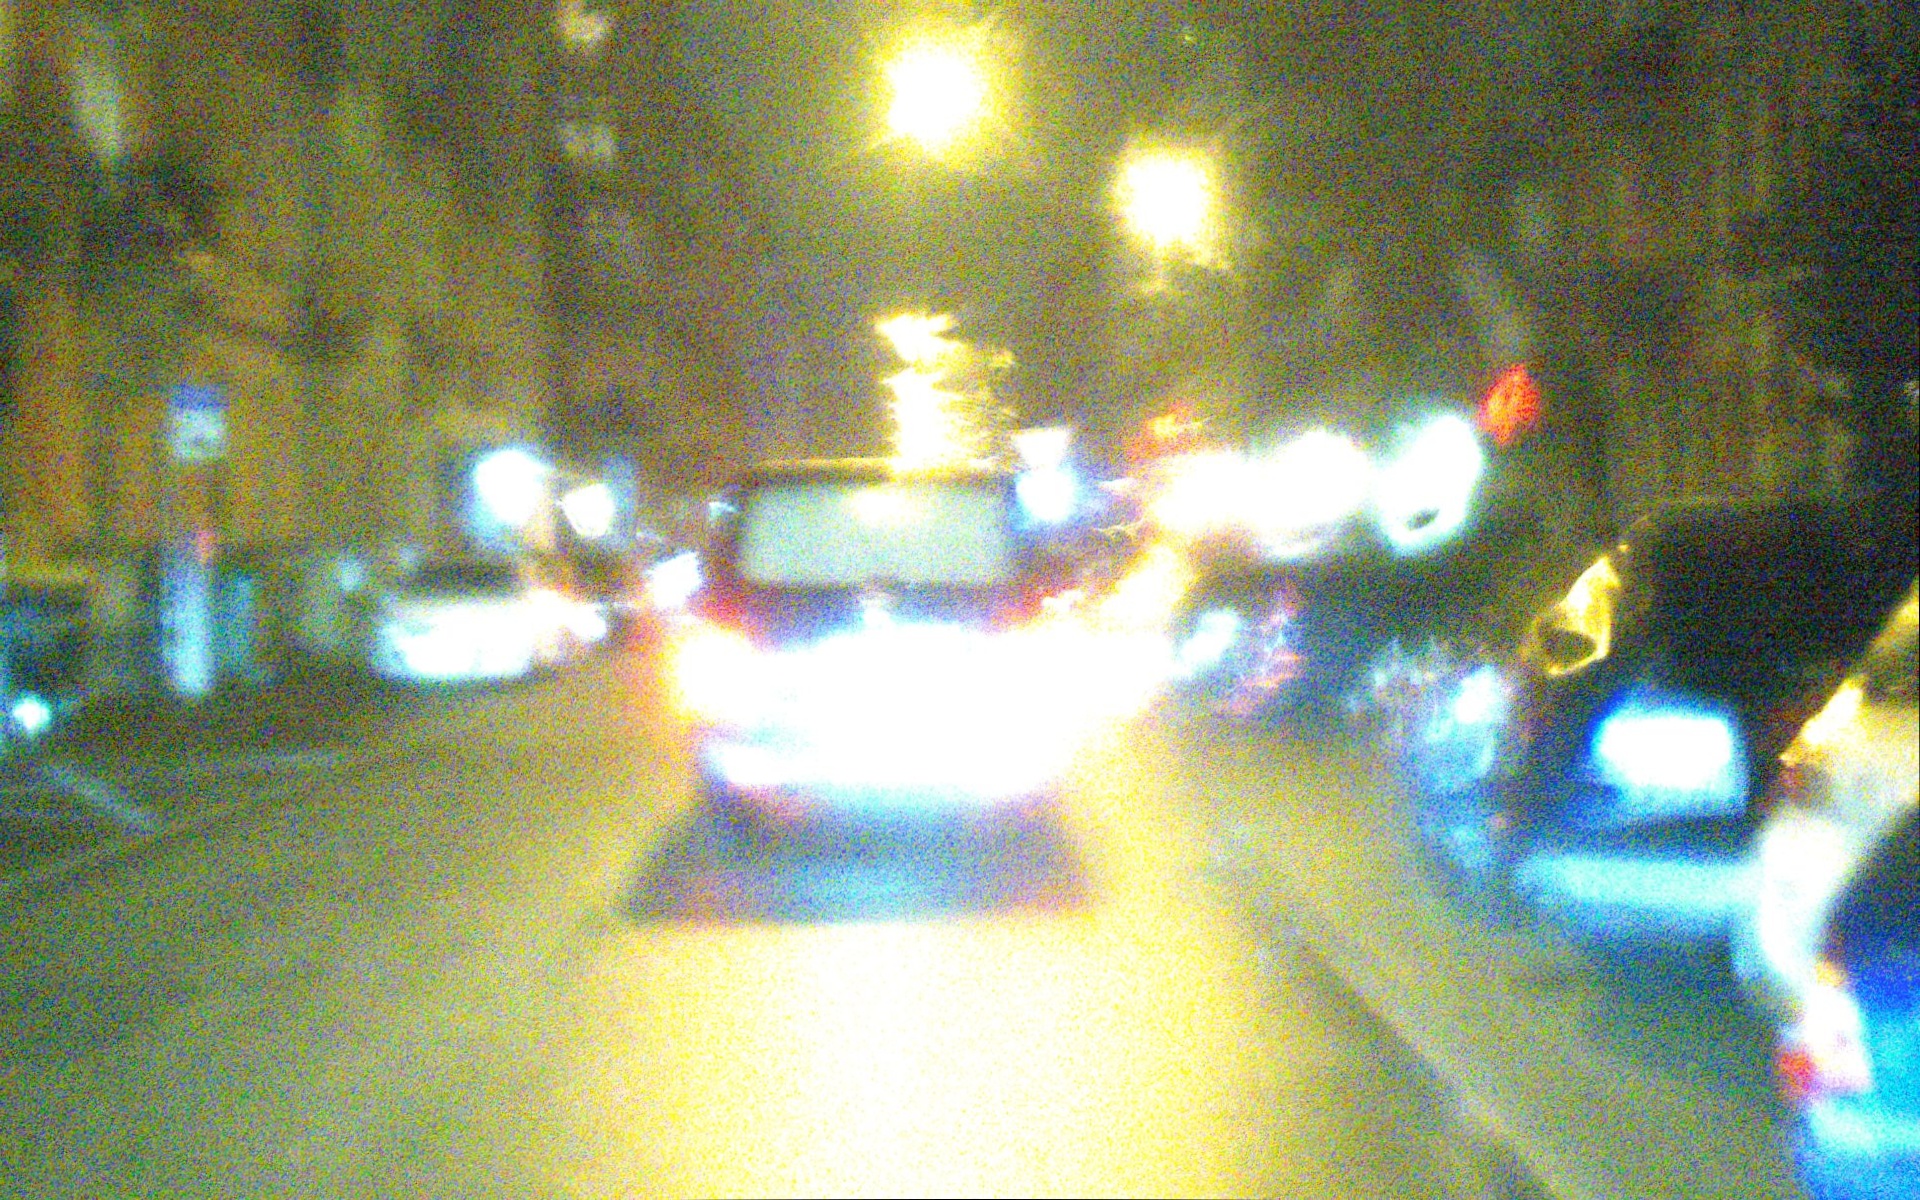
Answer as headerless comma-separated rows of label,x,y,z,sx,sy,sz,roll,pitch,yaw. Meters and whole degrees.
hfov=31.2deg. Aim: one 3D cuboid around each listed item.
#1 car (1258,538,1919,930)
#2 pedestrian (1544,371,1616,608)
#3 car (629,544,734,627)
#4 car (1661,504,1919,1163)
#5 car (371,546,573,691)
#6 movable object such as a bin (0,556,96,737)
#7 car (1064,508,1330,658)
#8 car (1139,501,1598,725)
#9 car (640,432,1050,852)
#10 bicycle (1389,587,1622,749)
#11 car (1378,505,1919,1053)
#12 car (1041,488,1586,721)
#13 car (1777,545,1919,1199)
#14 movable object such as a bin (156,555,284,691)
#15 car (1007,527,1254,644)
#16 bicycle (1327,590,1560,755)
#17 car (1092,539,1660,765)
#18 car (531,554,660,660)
car,3.279,0.544,15.622,3.642,1.575,1.592,0,1,-35
pedestrian,9.278,-1.642,51.474,0.891,3.515,0.791,0,1,0
car,-5.797,-0.317,71.998,1.883,1.679,4.000,0,1,0
car,3.823,0.538,9.206,3.641,1.575,1.593,-1,1,-28
car,-5.226,0.166,37.204,1.587,1.477,3.793,0,1,1
movable object such as a bin,-7.546,0.352,27.400,0.975,1.394,1.133,1,1,2
car,3.422,-0.252,49.417,3.555,1.984,1.605,-3,1,-37
car,3.509,0.090,29.457,3.554,1.705,1.646,-3,1,-29
car,-0.573,0.203,18.727,1.993,2.043,4.000,0,0,0
bicycle,3.787,0.456,24.000,0.518,1.072,1.827,-2,1,-31
car,3.262,0.482,11.643,3.643,1.575,1.592,-1,1,-39
car,3.338,-0.012,32.178,4.784,2.042,2.067,-1,1,-31
car,3.340,0.576,6.012,3.672,1.455,1.604,-2,1,-33
movable object such as a bin,-7.875,0.233,36.623,1.048,1.394,1.158,1,1,2
car,2.625,-0.248,52.511,3.555,1.585,1.606,-3,4,-37
bicycle,3.313,0.482,23.706,0.518,1.072,1.827,-2,1,-31
car,3.208,0.366,26.425,3.986,1.487,1.735,-3,1,-27
car,-5.546,0.078,52.694,1.812,1.552,4.077,0,1,-4
